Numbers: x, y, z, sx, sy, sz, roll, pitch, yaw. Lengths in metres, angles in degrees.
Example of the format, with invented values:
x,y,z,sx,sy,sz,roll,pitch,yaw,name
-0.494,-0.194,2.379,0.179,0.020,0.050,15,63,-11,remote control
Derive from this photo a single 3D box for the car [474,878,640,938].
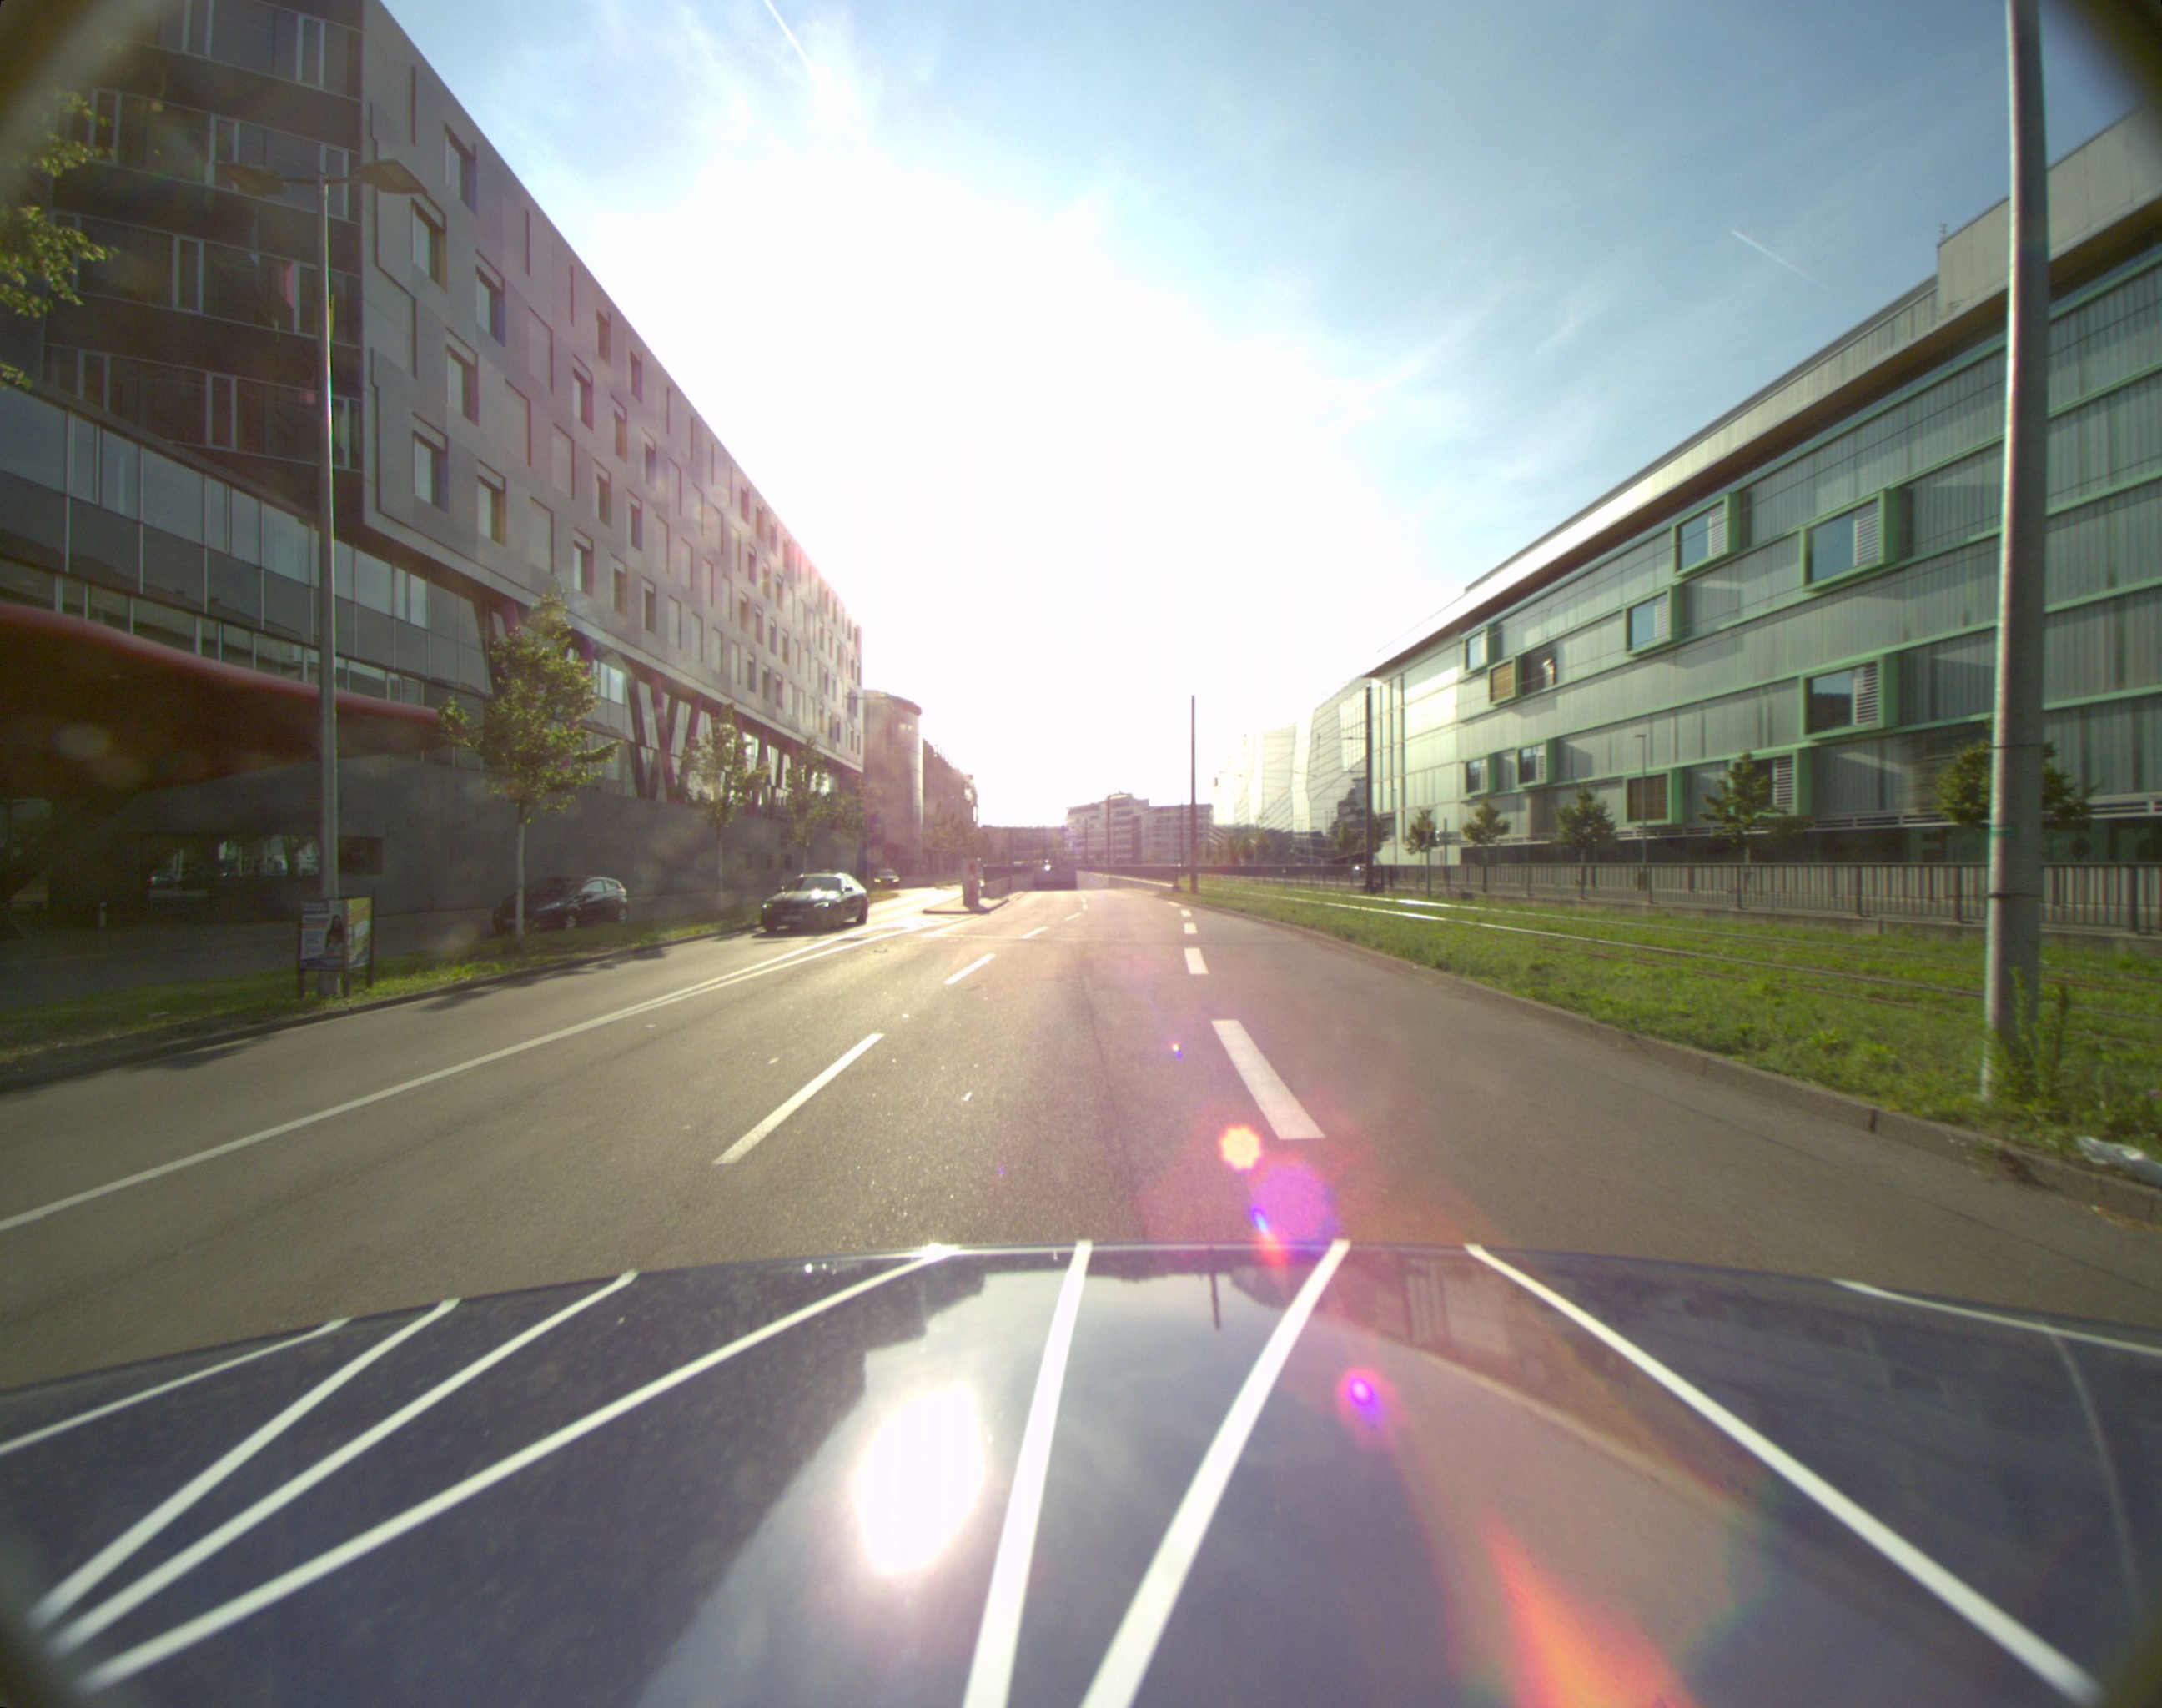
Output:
x,y,z,sx,sy,sz,roll,pitch,yaw,name
-13.666,1.345,20.161,1.696,1.381,4.198,0,-1,-4,car

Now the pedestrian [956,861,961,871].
x,y,z,sx,sy,sz,roll,pitch,yaw,name
-21.001,2.089,129.902,0.725,1.776,0.771,-1,0,-3,pedestrian

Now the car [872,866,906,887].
x,y,z,sx,sy,sz,roll,pitch,yaw,name
-14.655,1.687,57.871,1.898,1.418,4.464,-1,1,-22,car

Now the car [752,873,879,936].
x,y,z,sx,sy,sz,roll,pitch,yaw,name
-7.035,1.276,20.674,1.843,1.441,4.556,-1,-1,0,car
